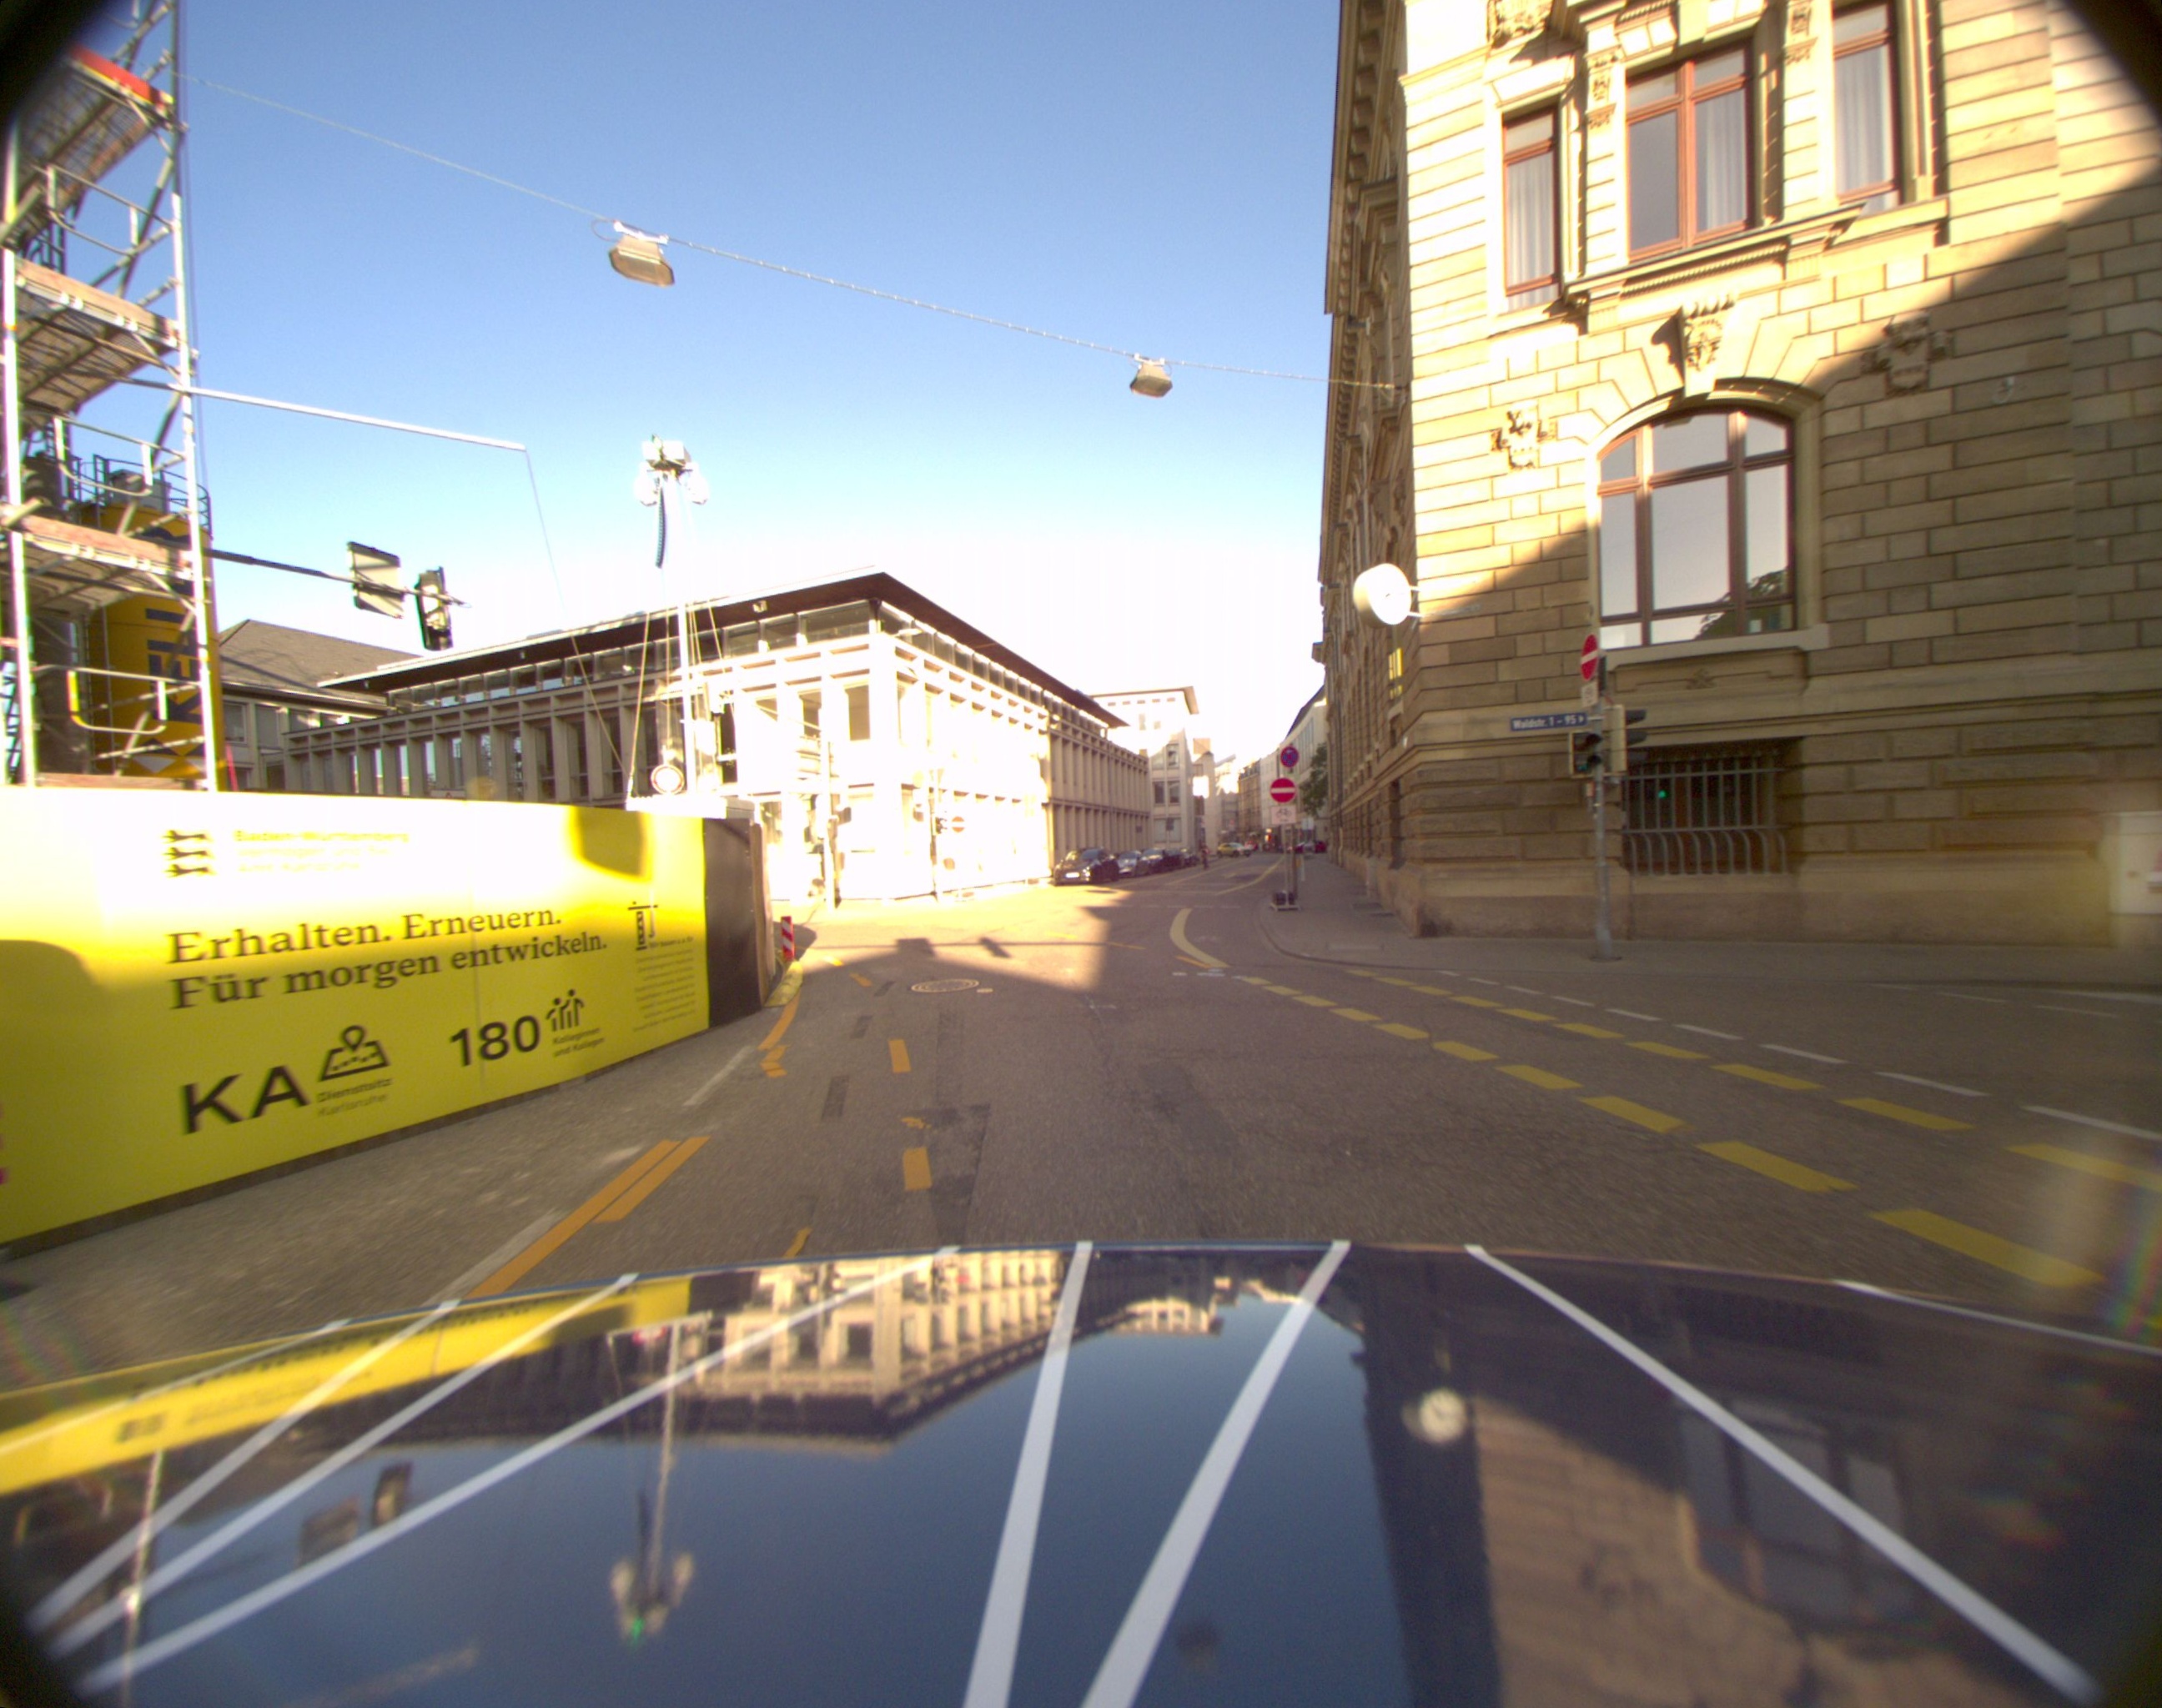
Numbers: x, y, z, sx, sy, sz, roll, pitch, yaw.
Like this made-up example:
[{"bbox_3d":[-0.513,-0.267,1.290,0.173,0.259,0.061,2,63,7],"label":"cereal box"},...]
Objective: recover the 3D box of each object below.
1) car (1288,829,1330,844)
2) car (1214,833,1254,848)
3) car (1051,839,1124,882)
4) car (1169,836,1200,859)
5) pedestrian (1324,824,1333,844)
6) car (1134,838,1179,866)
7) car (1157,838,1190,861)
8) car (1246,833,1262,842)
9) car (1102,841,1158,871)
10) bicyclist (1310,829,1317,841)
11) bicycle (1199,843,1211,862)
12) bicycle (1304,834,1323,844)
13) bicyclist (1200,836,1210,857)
[{"bbox_3d":[25.843,-2.007,86.294,4.267,1.462,1.633,-2,1,4],"label":"car"},{"bbox_3d":[16.318,-1.428,81.205,1.858,1.483,4.245,-4,1,-28],"label":"car"},{"bbox_3d":[0.377,0.235,33.368,1.896,1.614,4.626,-2,1,17],"label":"car"},{"bbox_3d":[7.715,-0.503,56.407,1.696,1.483,4.258,-3,1,16],"label":"car"},{"bbox_3d":[22.660,-1.813,69.559,0.764,1.769,0.623,-2,2,17],"label":"pedestrian"},{"bbox_3d":[4.555,-0.131,45.452,1.699,1.462,4.796,-3,1,17],"label":"car"},{"bbox_3d":[6.274,-0.330,51.233,1.630,1.392,3.889,-3,1,15],"label":"car"},{"bbox_3d":[29.763,-2.866,130.652,2.053,1.483,4.272,-2,1,5],"label":"car"},{"bbox_3d":[2.636,0.045,39.810,1.699,1.336,4.603,-2,1,20],"label":"car"},{"bbox_3d":[25.285,-2.100,82.515,0.612,1.281,0.538,-3,2,9],"label":"bicyclist"},{"bbox_3d":[7.587,-0.108,46.508,0.534,1.060,1.427,-2,1,15],"label":"bicycle"},{"bbox_3d":[25.294,-1.672,82.522,1.870,0.906,0.535,-4,8,9],"label":"bicycle"},{"bbox_3d":[7.588,-0.461,46.538,0.537,1.281,0.552,-3,2,14],"label":"bicyclist"}]
